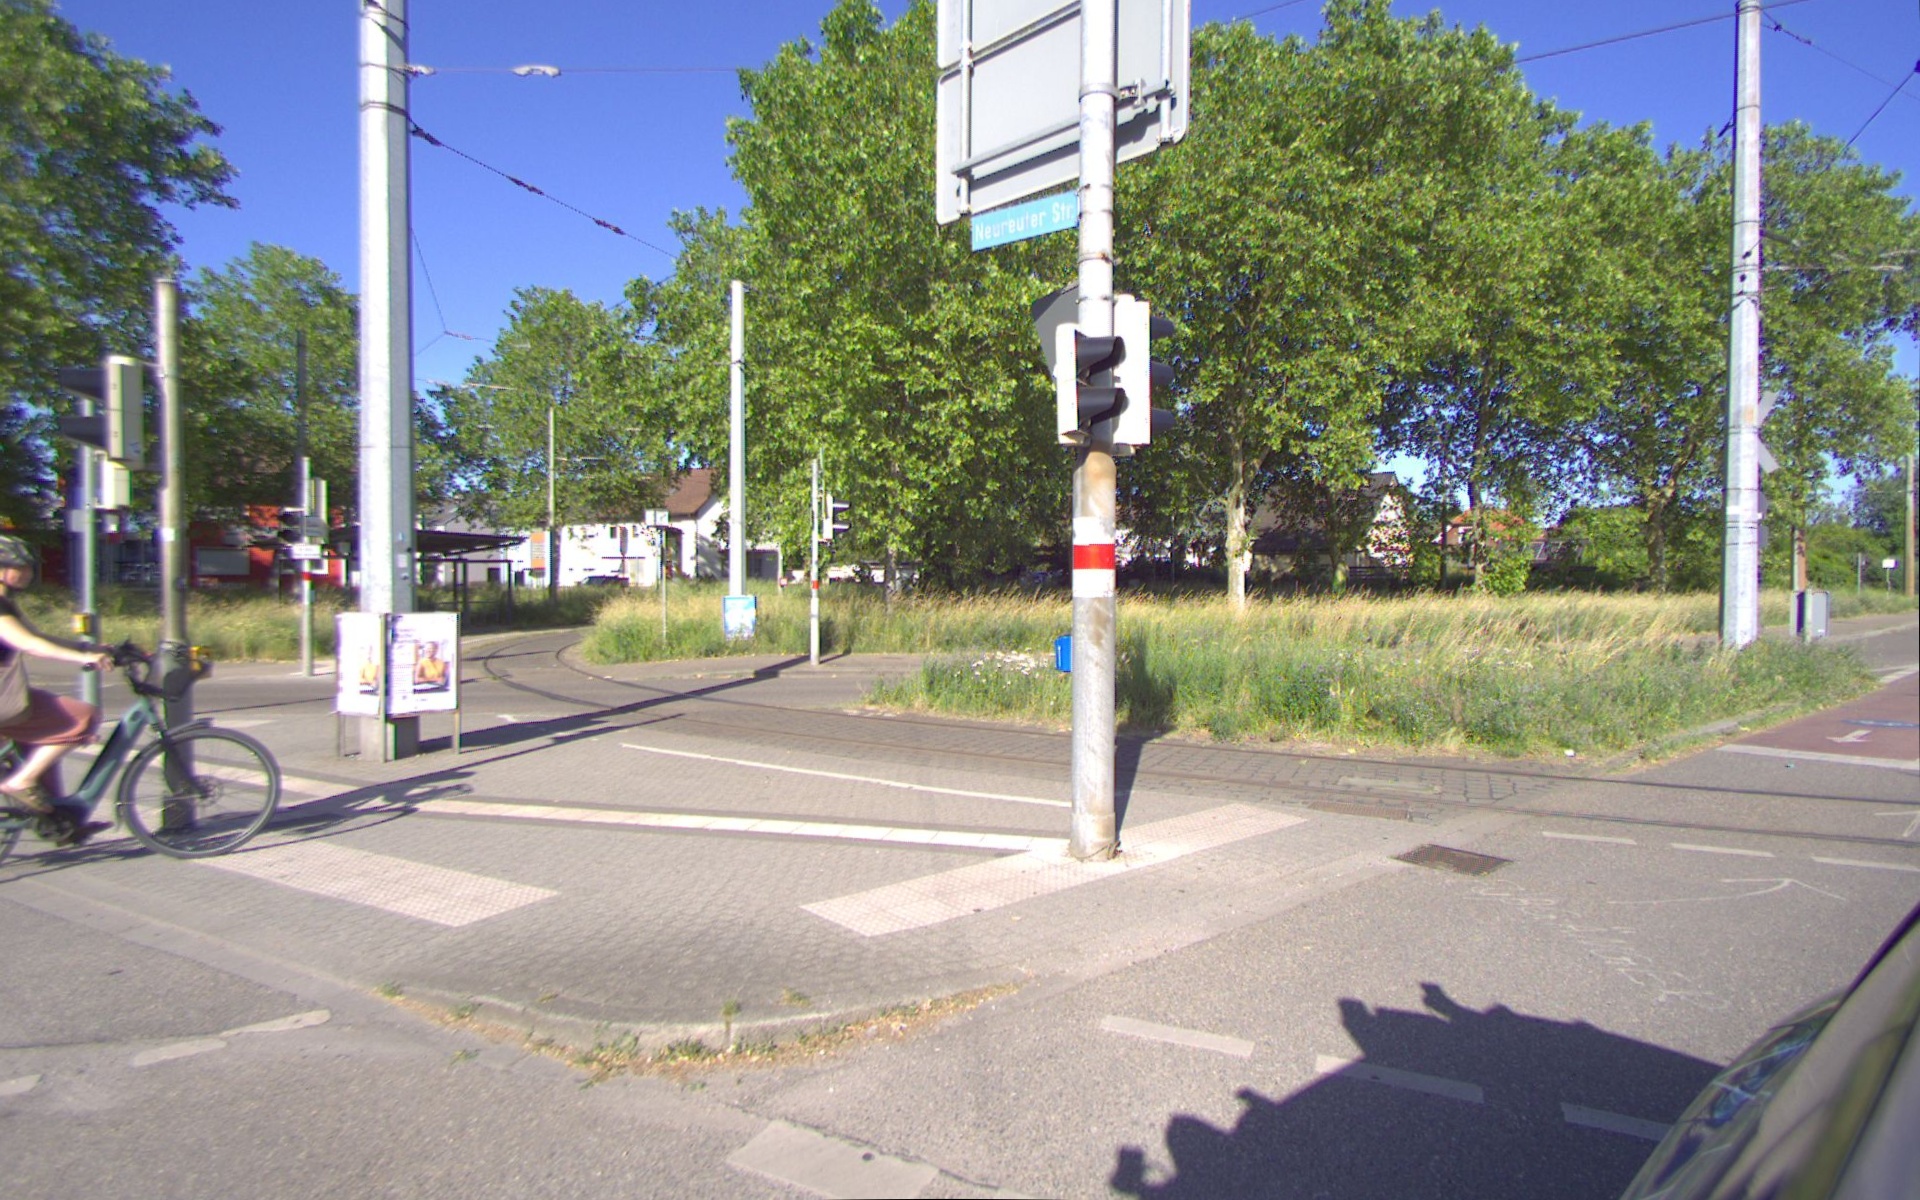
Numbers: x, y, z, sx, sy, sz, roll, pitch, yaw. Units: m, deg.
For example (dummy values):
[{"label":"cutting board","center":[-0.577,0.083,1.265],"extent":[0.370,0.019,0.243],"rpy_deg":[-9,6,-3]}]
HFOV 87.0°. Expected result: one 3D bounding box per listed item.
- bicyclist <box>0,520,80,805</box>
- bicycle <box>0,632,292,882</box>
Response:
[{"label":"bicyclist","center":[-4.731,0.293,5.001],"extent":[0.556,1.357,0.510],"rpy_deg":[-1,1,-44]},{"label":"bicycle","center":[-4.533,0.772,5.197],"extent":[1.790,1.133,0.467],"rpy_deg":[-1,1,-44]}]
